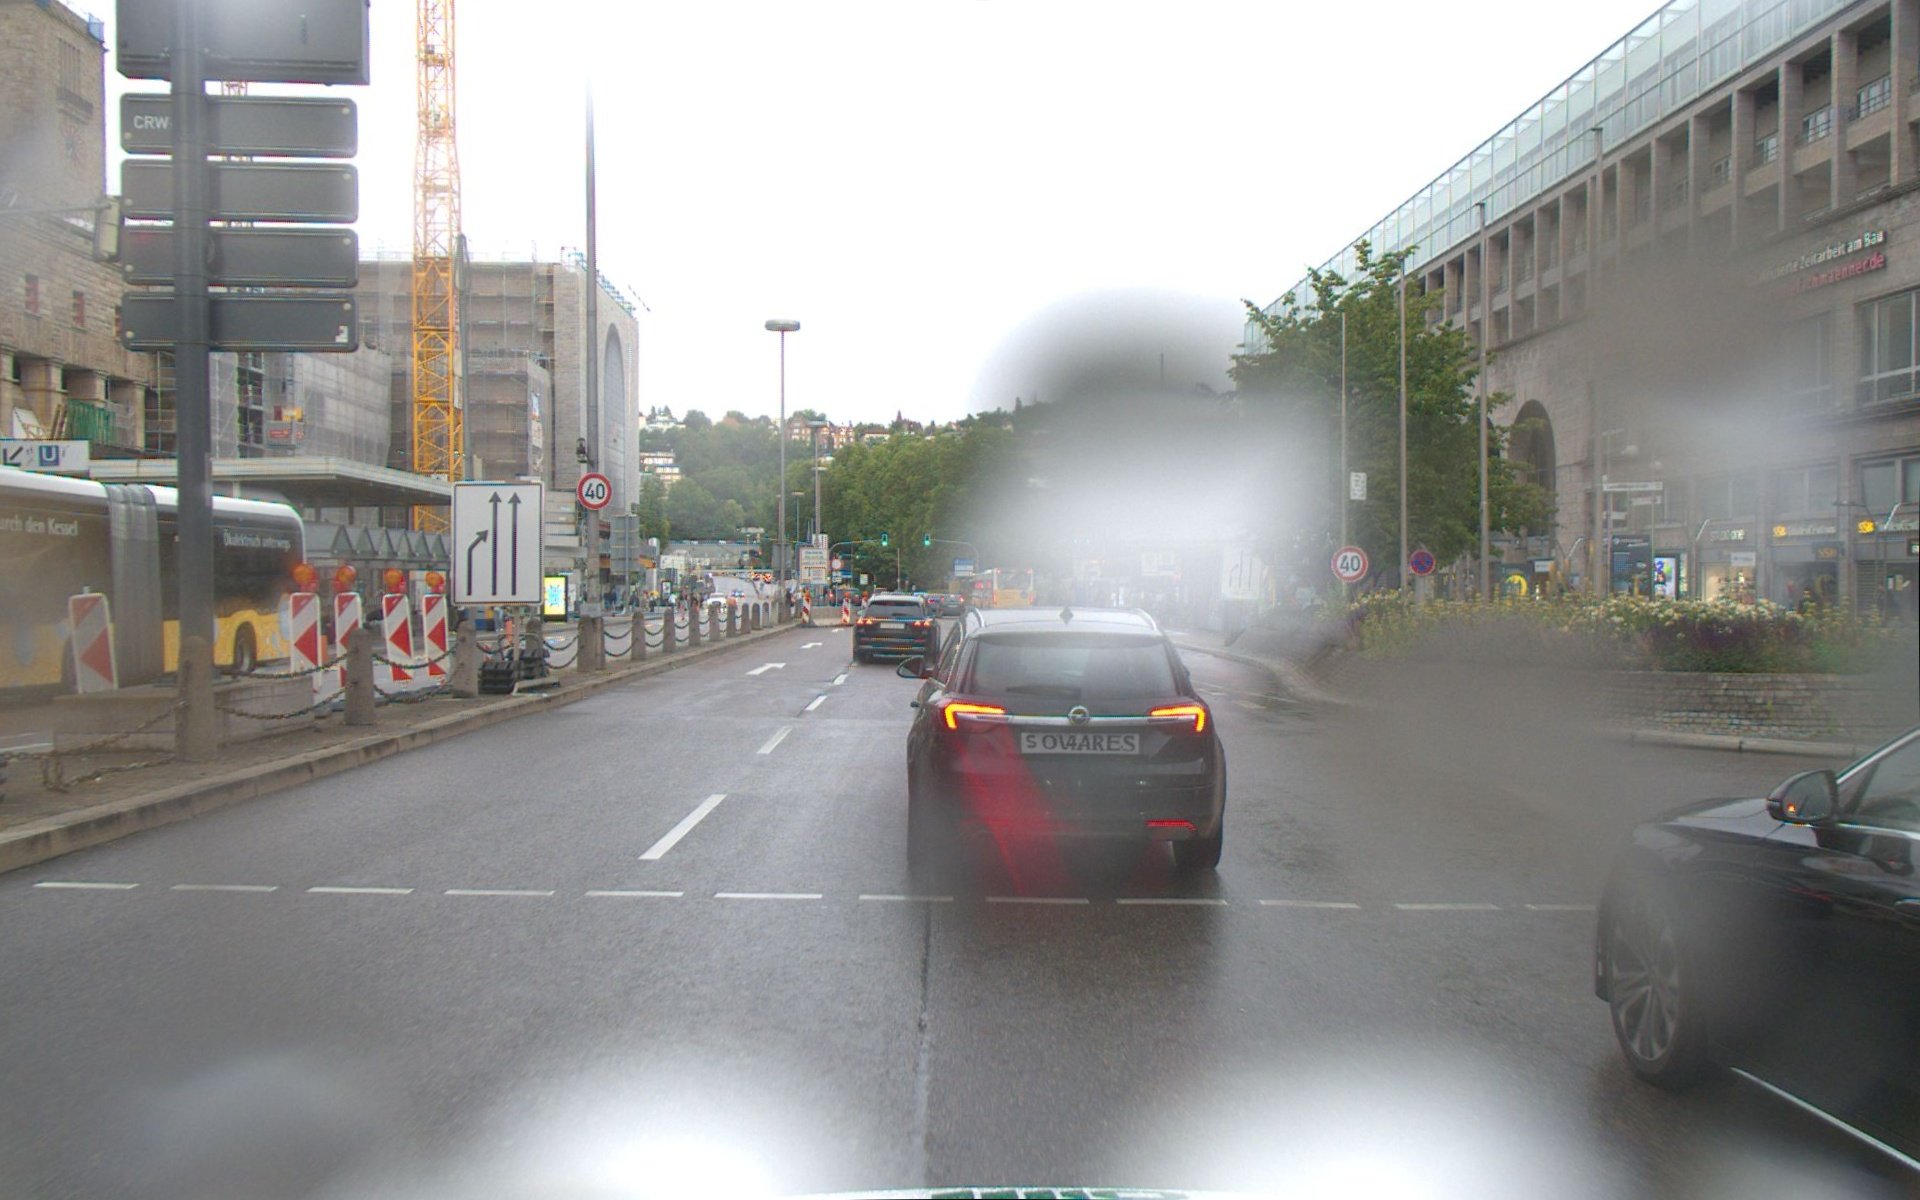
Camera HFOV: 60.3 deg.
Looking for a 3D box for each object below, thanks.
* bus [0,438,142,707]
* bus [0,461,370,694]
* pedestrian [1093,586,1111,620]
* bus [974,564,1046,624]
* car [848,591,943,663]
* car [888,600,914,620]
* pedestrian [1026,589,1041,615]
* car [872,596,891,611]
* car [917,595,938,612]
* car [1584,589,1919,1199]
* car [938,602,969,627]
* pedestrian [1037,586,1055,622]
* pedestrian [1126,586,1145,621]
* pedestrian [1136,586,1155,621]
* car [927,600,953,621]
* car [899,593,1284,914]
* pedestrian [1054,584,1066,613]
[{"bbox_3d":[-14.368,-0.418,21.186,2.614,3.665,10.237,1,-1,0],"label":"bus"},{"bbox_3d":[-14.409,-0.301,31.496,2.614,3.665,10.210,1,-1,0],"label":"bus"},{"bbox_3d":[7.256,0.157,84.536,0.748,1.720,0.824,1,-1,-5],"label":"pedestrian"},{"bbox_3d":[3.114,-0.283,107.970,4.088,3.530,14.652,1,-1,0],"label":"bus"},{"bbox_3d":[-1.405,0.598,37.592,1.817,1.495,4.588,1,-1,2],"label":"car"},{"bbox_3d":[-4.413,0.765,123.721,1.808,1.422,3.563,1,-1,0],"label":"car"},{"bbox_3d":[6.340,0.198,142.904,1.174,2.186,1.228,1,-1,1],"label":"pedestrian"},{"bbox_3d":[-7.822,0.311,164.308,1.723,1.422,3.563,1,-1,0],"label":"car"},{"bbox_3d":[-2.861,0.278,147.156,1.808,1.422,3.564,1,0,0],"label":"car"},{"bbox_3d":[3.126,0.757,3.667,1.756,1.528,4.628,1,-1,0],"label":"car"},{"bbox_3d":[-0.399,0.878,99.253,1.808,1.422,3.666,1,-1,0],"label":"car"},{"bbox_3d":[5.920,0.293,113.911,1.174,2.478,1.228,1,-1,1],"label":"pedestrian"},{"bbox_3d":[8.755,0.172,82.588,0.748,1.720,0.824,1,-1,-5],"label":"pedestrian"},{"bbox_3d":[9.133,0.167,81.357,0.748,1.720,0.824,1,-1,-5],"label":"pedestrian"},{"bbox_3d":[-1.453,0.733,118.470,1.718,1.422,4.646,1,-1,-3],"label":"car"},{"bbox_3d":[0.616,0.766,9.998,1.836,1.512,3.999,1,-1,-1],"label":"car"},{"bbox_3d":[5.896,-0.091,97.688,0.644,1.720,0.609,1,-1,0],"label":"pedestrian"}]
